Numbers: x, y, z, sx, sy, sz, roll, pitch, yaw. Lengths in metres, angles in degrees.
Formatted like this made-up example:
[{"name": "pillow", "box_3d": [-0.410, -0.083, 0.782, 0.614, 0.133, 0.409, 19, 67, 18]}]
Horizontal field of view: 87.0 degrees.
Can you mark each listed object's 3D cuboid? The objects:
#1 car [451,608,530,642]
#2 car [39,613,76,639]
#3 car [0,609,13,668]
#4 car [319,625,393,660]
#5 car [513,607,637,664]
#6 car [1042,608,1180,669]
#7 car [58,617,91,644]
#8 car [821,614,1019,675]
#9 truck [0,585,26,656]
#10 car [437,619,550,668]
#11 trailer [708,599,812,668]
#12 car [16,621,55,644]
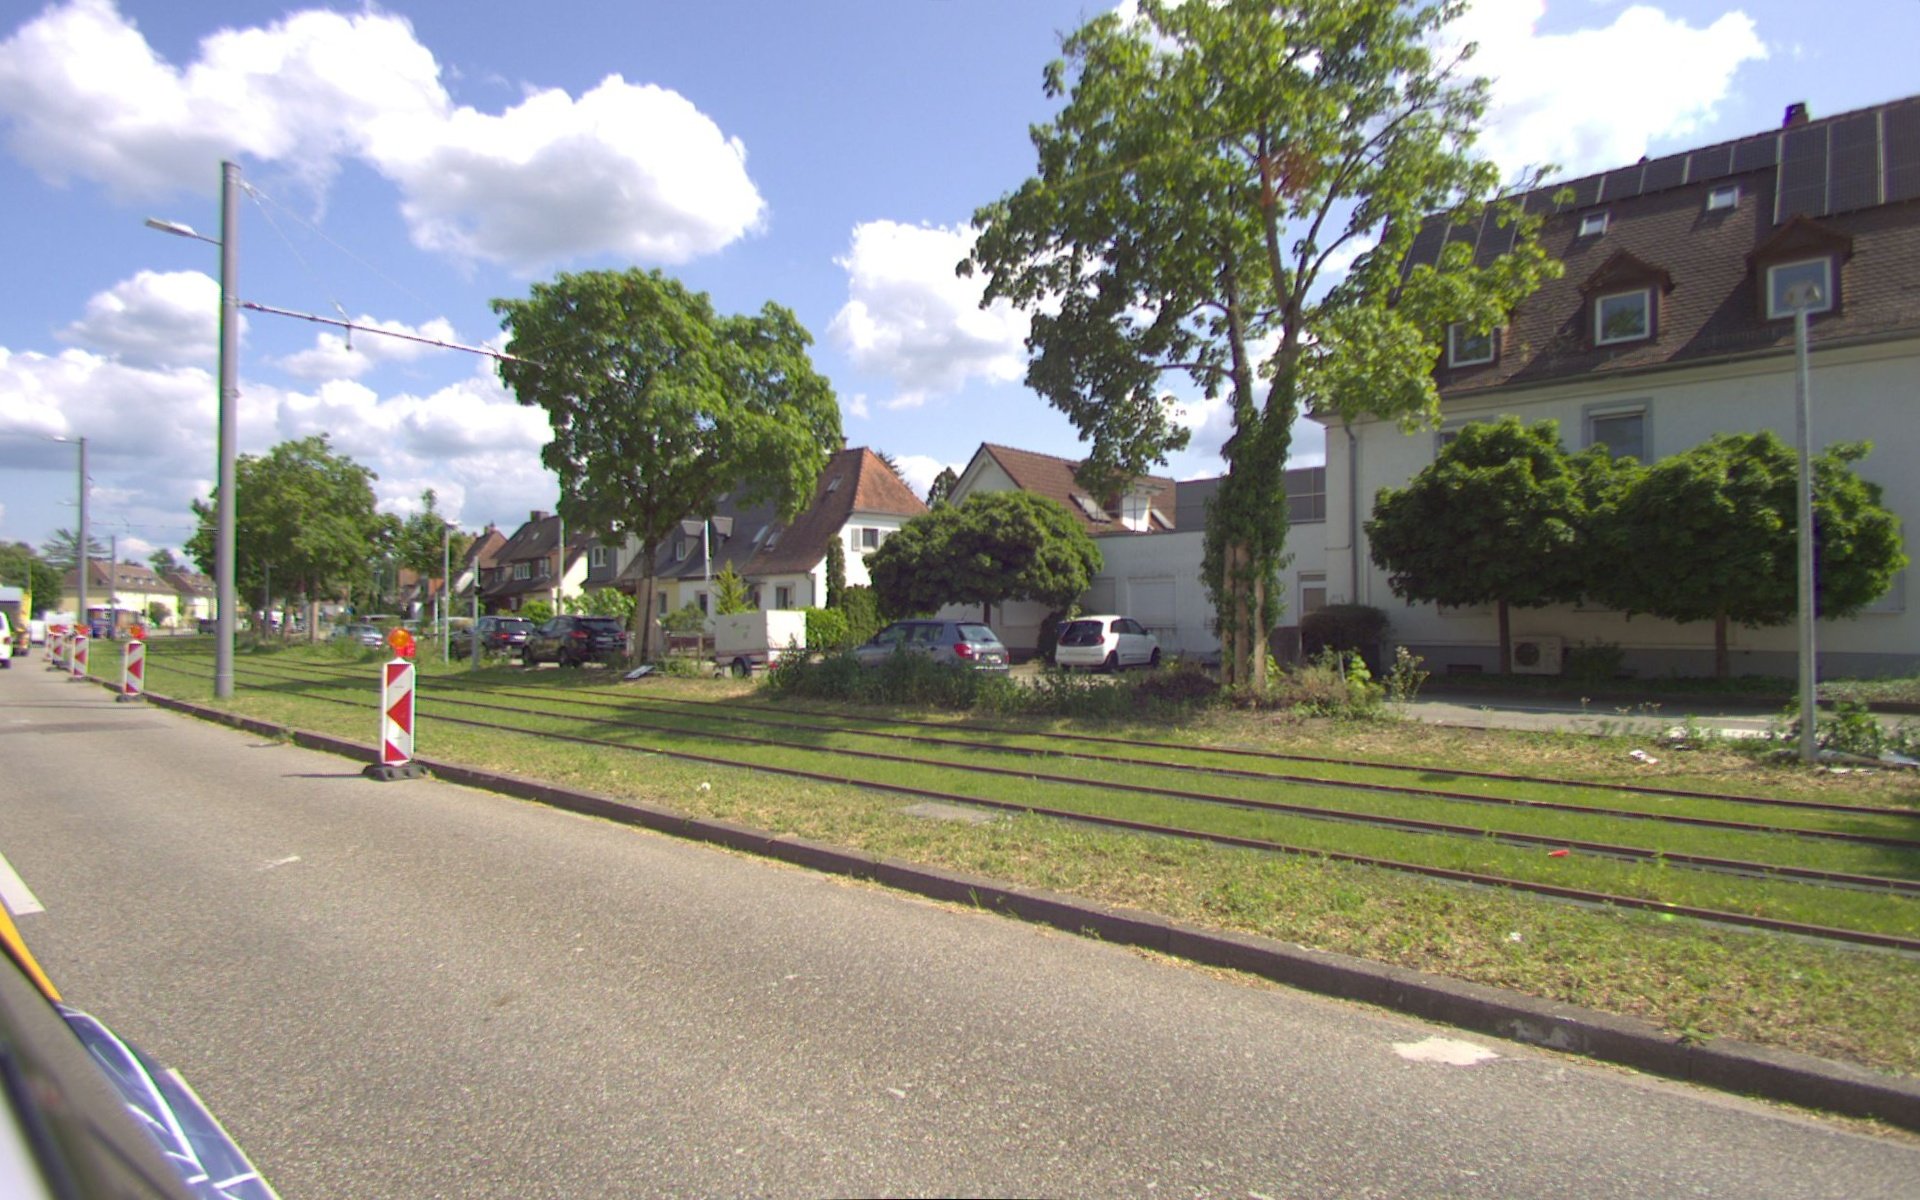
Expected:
[{"name": "car", "box_3d": [-28.598, 1.535, 61.738, 3.939, 2.029, 2.002, 2, -2, -43]}, {"name": "car", "box_3d": [-72.222, 2.091, 81.025, 1.813, 2.070, 3.877, 2, -2, -36]}, {"name": "car", "box_3d": [-34.292, 1.311, 34.951, 4.561, 1.957, 1.918, -2, -4, 43]}, {"name": "car", "box_3d": [-28.761, 1.981, 48.130, 4.324, 1.551, 1.971, -1, -2, 45]}, {"name": "car", "box_3d": [-11.890, 1.151, 31.185, 4.100, 1.590, 1.885, -3, -6, 43]}, {"name": "car", "box_3d": [4.274, 1.090, 28.310, 1.999, 1.539, 3.945, -4, -4, 41]}, {"name": "car", "box_3d": [-82.234, 2.815, 94.010, 1.669, 2.450, 3.584, 2, -2, -33]}, {"name": "car", "box_3d": [-0.867, 0.860, 20.377, 3.834, 1.101, 1.762, -1, -2, 41]}, {"name": "truck", "box_3d": [-49.430, 1.058, 51.422, 2.664, 3.391, 8.056, 3, -3, -43]}, {"name": "car", "box_3d": [-15.989, 1.437, 34.608, 4.322, 1.551, 1.972, -1, -2, 42]}, {"name": "trailer", "box_3d": [-4.739, 0.782, 23.934, 2.281, 1.530, 1.285, -1, -2, 42]}, {"name": "car", "box_3d": [-63.019, 2.182, 69.019, 1.490, 1.510, 3.582, 2, -2, -36]}]
